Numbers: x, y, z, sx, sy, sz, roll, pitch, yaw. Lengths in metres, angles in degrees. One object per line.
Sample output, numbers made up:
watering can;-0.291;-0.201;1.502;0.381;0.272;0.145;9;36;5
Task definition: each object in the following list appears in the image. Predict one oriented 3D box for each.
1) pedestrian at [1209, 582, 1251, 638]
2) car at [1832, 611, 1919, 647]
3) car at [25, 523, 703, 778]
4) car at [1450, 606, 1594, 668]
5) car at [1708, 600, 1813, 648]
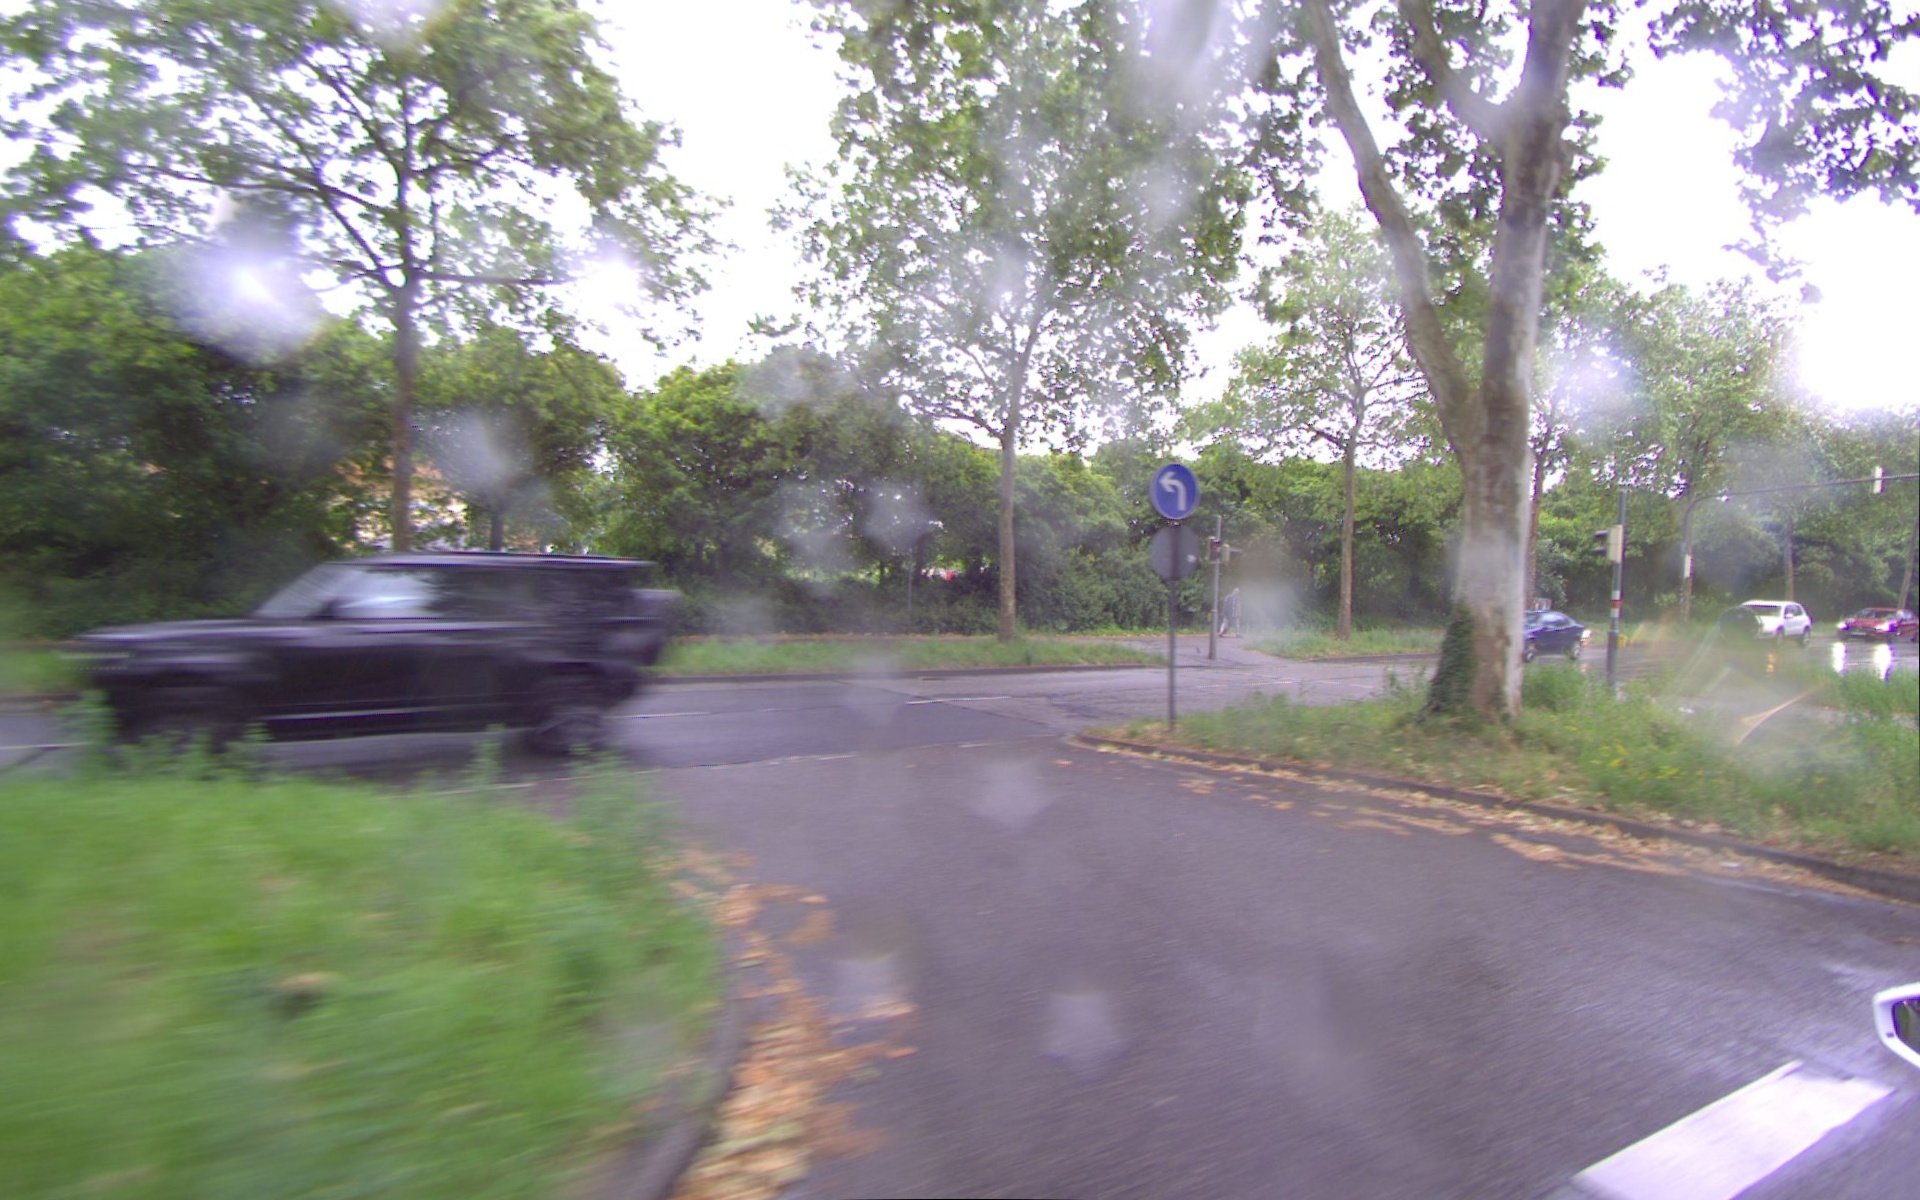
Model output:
pedestrian;8.405;0.298;31.303;0.890;1.696;0.826;1;1;-33
car;39.324;1.234;43.080;4.396;1.427;1.733;1;1;-33
car;-5.198;0.392;9.495;5.066;1.866;1.733;1;1;-33
car;15.567;0.963;27.744;4.400;1.458;1.731;-1;2;-35
car;29.680;0.883;37.210;4.397;1.653;1.733;1;1;-34
